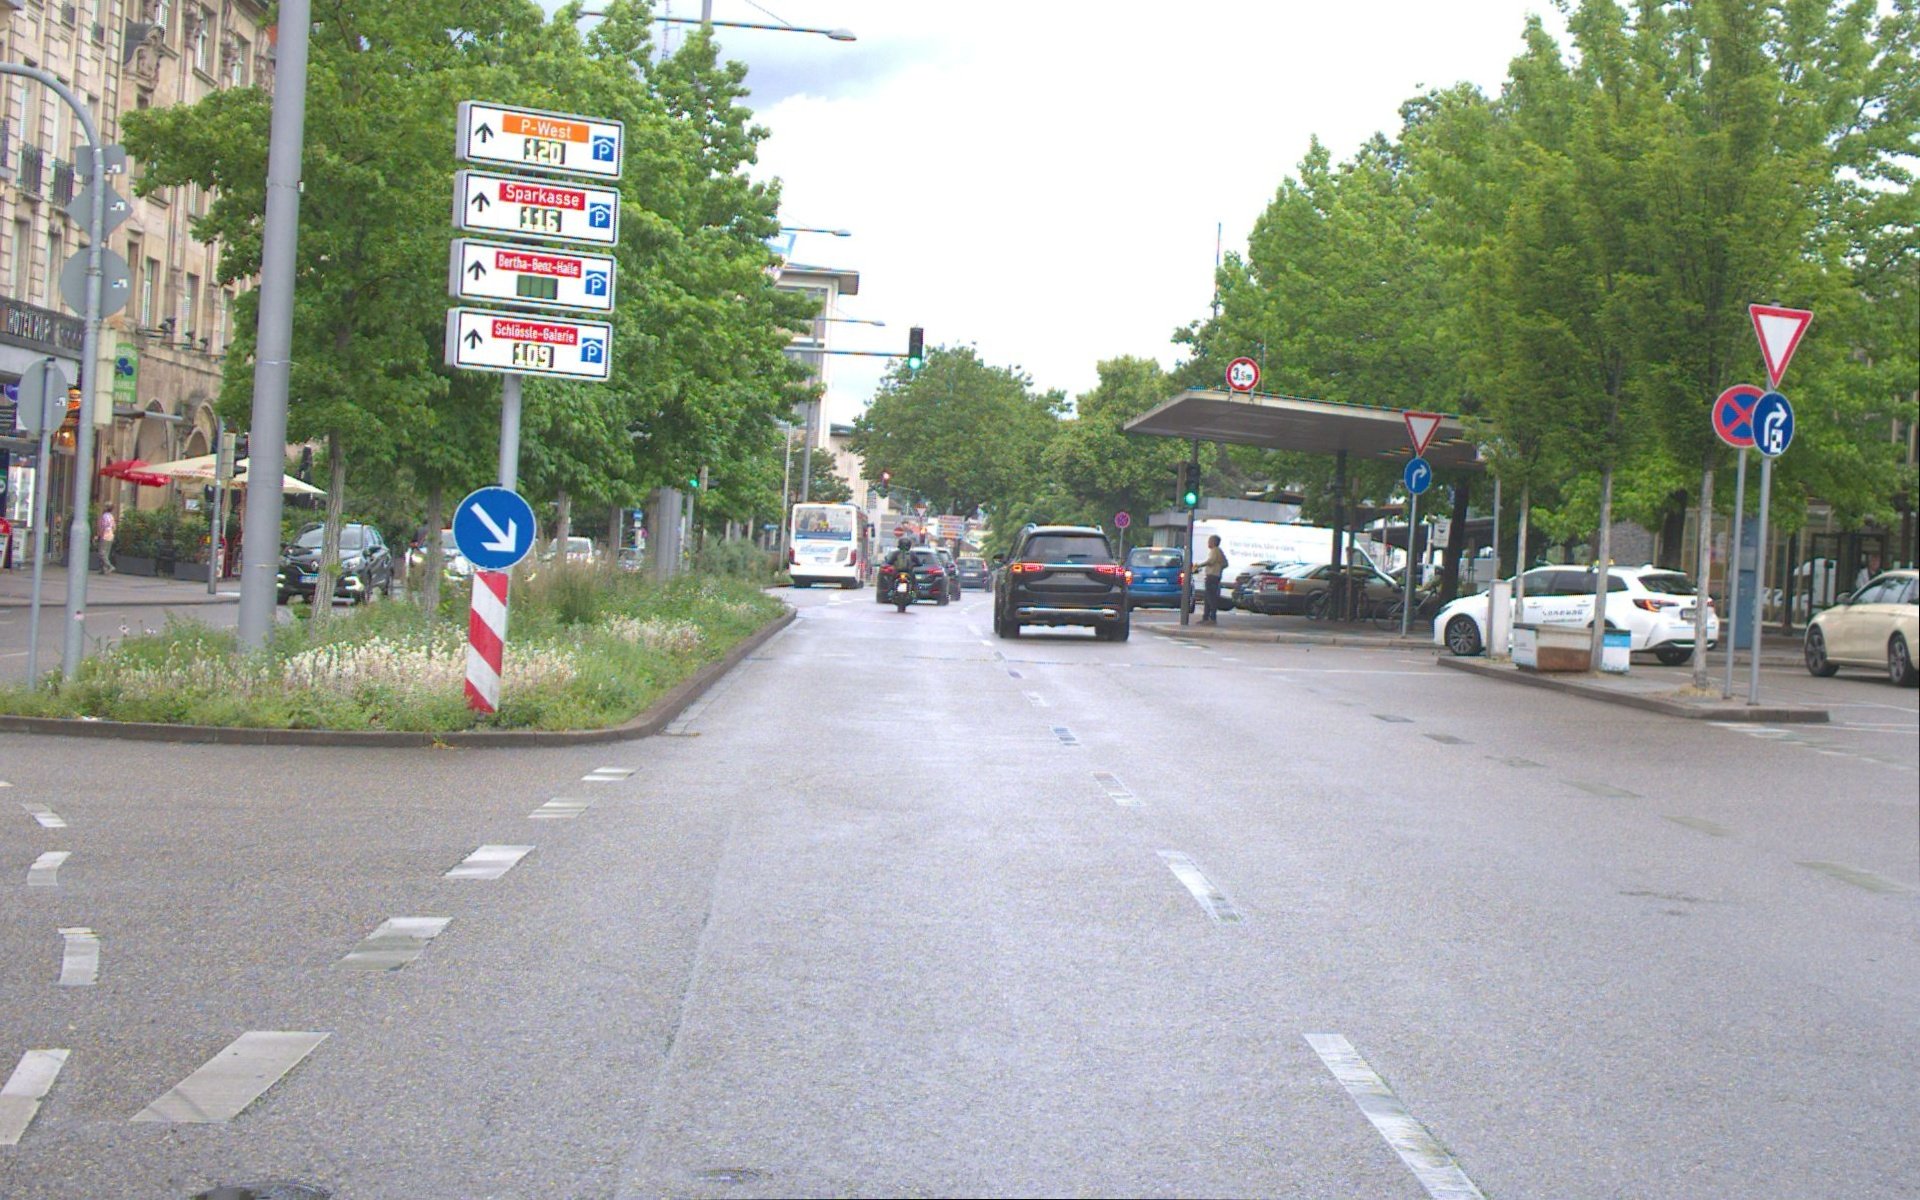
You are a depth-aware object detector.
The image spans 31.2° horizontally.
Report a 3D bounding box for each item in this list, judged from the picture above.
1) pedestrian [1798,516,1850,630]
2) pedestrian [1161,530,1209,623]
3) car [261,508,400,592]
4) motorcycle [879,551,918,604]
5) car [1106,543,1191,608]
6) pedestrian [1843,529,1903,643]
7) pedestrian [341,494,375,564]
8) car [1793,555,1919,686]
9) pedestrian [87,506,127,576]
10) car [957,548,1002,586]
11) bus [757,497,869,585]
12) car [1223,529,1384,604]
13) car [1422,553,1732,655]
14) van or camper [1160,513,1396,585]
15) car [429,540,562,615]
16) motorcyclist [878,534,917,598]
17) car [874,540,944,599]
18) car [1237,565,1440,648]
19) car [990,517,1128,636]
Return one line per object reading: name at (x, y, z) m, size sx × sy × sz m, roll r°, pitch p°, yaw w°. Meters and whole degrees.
pedestrian at (18.505, -0.580, 73.666) m, size 0.843 × 2.403 × 0.862 m, roll 1°, pitch 1°, yaw 1°
pedestrian at (4.351, -0.459, 66.577) m, size 0.717 × 1.785 × 0.666 m, roll 1°, pitch 1°, yaw -12°
car at (-12.070, -0.972, 66.153) m, size 1.771 × 1.525 × 4.078 m, roll 1°, pitch 1°, yaw 2°
motorcycle at (-1.272, -0.481, 71.706) m, size 0.766 × 1.073 × 2.175 m, roll 2°, pitch 1°, yaw 0°
car at (4.651, -0.628, 85.413) m, size 1.816 × 1.525 × 4.000 m, roll 1°, pitch 1°, yaw -1°
pedestrian at (16.250, -0.254, 61.178) m, size 0.769 × 2.007 × 0.828 m, roll 1°, pitch 1°, yaw -2°
pedestrian at (-14.889, -1.759, 85.027) m, size 0.674 × 1.696 × 0.634 m, roll 2°, pitch 0°, yaw -1°
car at (12.608, 0.252, 44.315) m, size 1.993 × 1.594 × 4.824 m, roll 1°, pitch 1°, yaw -7°
pedestrian at (-18.542, -1.287, 74.720) m, size 0.661 × 1.505 × 0.519 m, roll 1°, pitch 1°, yaw -38°
car at (0.762, -1.327, 137.160) m, size 1.708 × 1.469 × 4.000 m, roll 1°, pitch 1°, yaw -1°
bus at (-5.945, -2.339, 136.321) m, size 3.760 × 3.198 × 15.529 m, roll 1°, pitch 1°, yaw -5°
car at (9.645, -0.950, 96.664) m, size 3.986 × 2.007 × 2.001 m, roll 1°, pitch 1°, yaw -20°
car at (9.115, 0.036, 51.092) m, size 1.774 × 1.380 × 4.366 m, roll 0°, pitch 1°, yaw -41°
van or camper at (9.512, -1.504, 102.806) m, size 6.753 × 2.007 × 2.385 m, roll 1°, pitch 0°, yaw -26°
car at (-9.056, -0.469, 67.337) m, size 1.724 × 1.377 × 4.859 m, roll 1°, pitch 1°, yaw 3°
motorcyclist at (-1.303, -0.712, 71.749) m, size 0.764 × 1.327 × 0.866 m, roll 2°, pitch 1°, yaw 0°
car at (-1.295, -0.789, 87.592) m, size 1.708 × 1.443 × 4.000 m, roll 1°, pitch 1°, yaw -1°
car at (9.054, 0.149, 82.295) m, size 4.335 × 1.851 × 2.001 m, roll 1°, pitch 1°, yaw -20°
car at (1.548, -0.410, 55.393) m, size 1.993 × 1.800 × 4.690 m, roll 1°, pitch 1°, yaw -1°
